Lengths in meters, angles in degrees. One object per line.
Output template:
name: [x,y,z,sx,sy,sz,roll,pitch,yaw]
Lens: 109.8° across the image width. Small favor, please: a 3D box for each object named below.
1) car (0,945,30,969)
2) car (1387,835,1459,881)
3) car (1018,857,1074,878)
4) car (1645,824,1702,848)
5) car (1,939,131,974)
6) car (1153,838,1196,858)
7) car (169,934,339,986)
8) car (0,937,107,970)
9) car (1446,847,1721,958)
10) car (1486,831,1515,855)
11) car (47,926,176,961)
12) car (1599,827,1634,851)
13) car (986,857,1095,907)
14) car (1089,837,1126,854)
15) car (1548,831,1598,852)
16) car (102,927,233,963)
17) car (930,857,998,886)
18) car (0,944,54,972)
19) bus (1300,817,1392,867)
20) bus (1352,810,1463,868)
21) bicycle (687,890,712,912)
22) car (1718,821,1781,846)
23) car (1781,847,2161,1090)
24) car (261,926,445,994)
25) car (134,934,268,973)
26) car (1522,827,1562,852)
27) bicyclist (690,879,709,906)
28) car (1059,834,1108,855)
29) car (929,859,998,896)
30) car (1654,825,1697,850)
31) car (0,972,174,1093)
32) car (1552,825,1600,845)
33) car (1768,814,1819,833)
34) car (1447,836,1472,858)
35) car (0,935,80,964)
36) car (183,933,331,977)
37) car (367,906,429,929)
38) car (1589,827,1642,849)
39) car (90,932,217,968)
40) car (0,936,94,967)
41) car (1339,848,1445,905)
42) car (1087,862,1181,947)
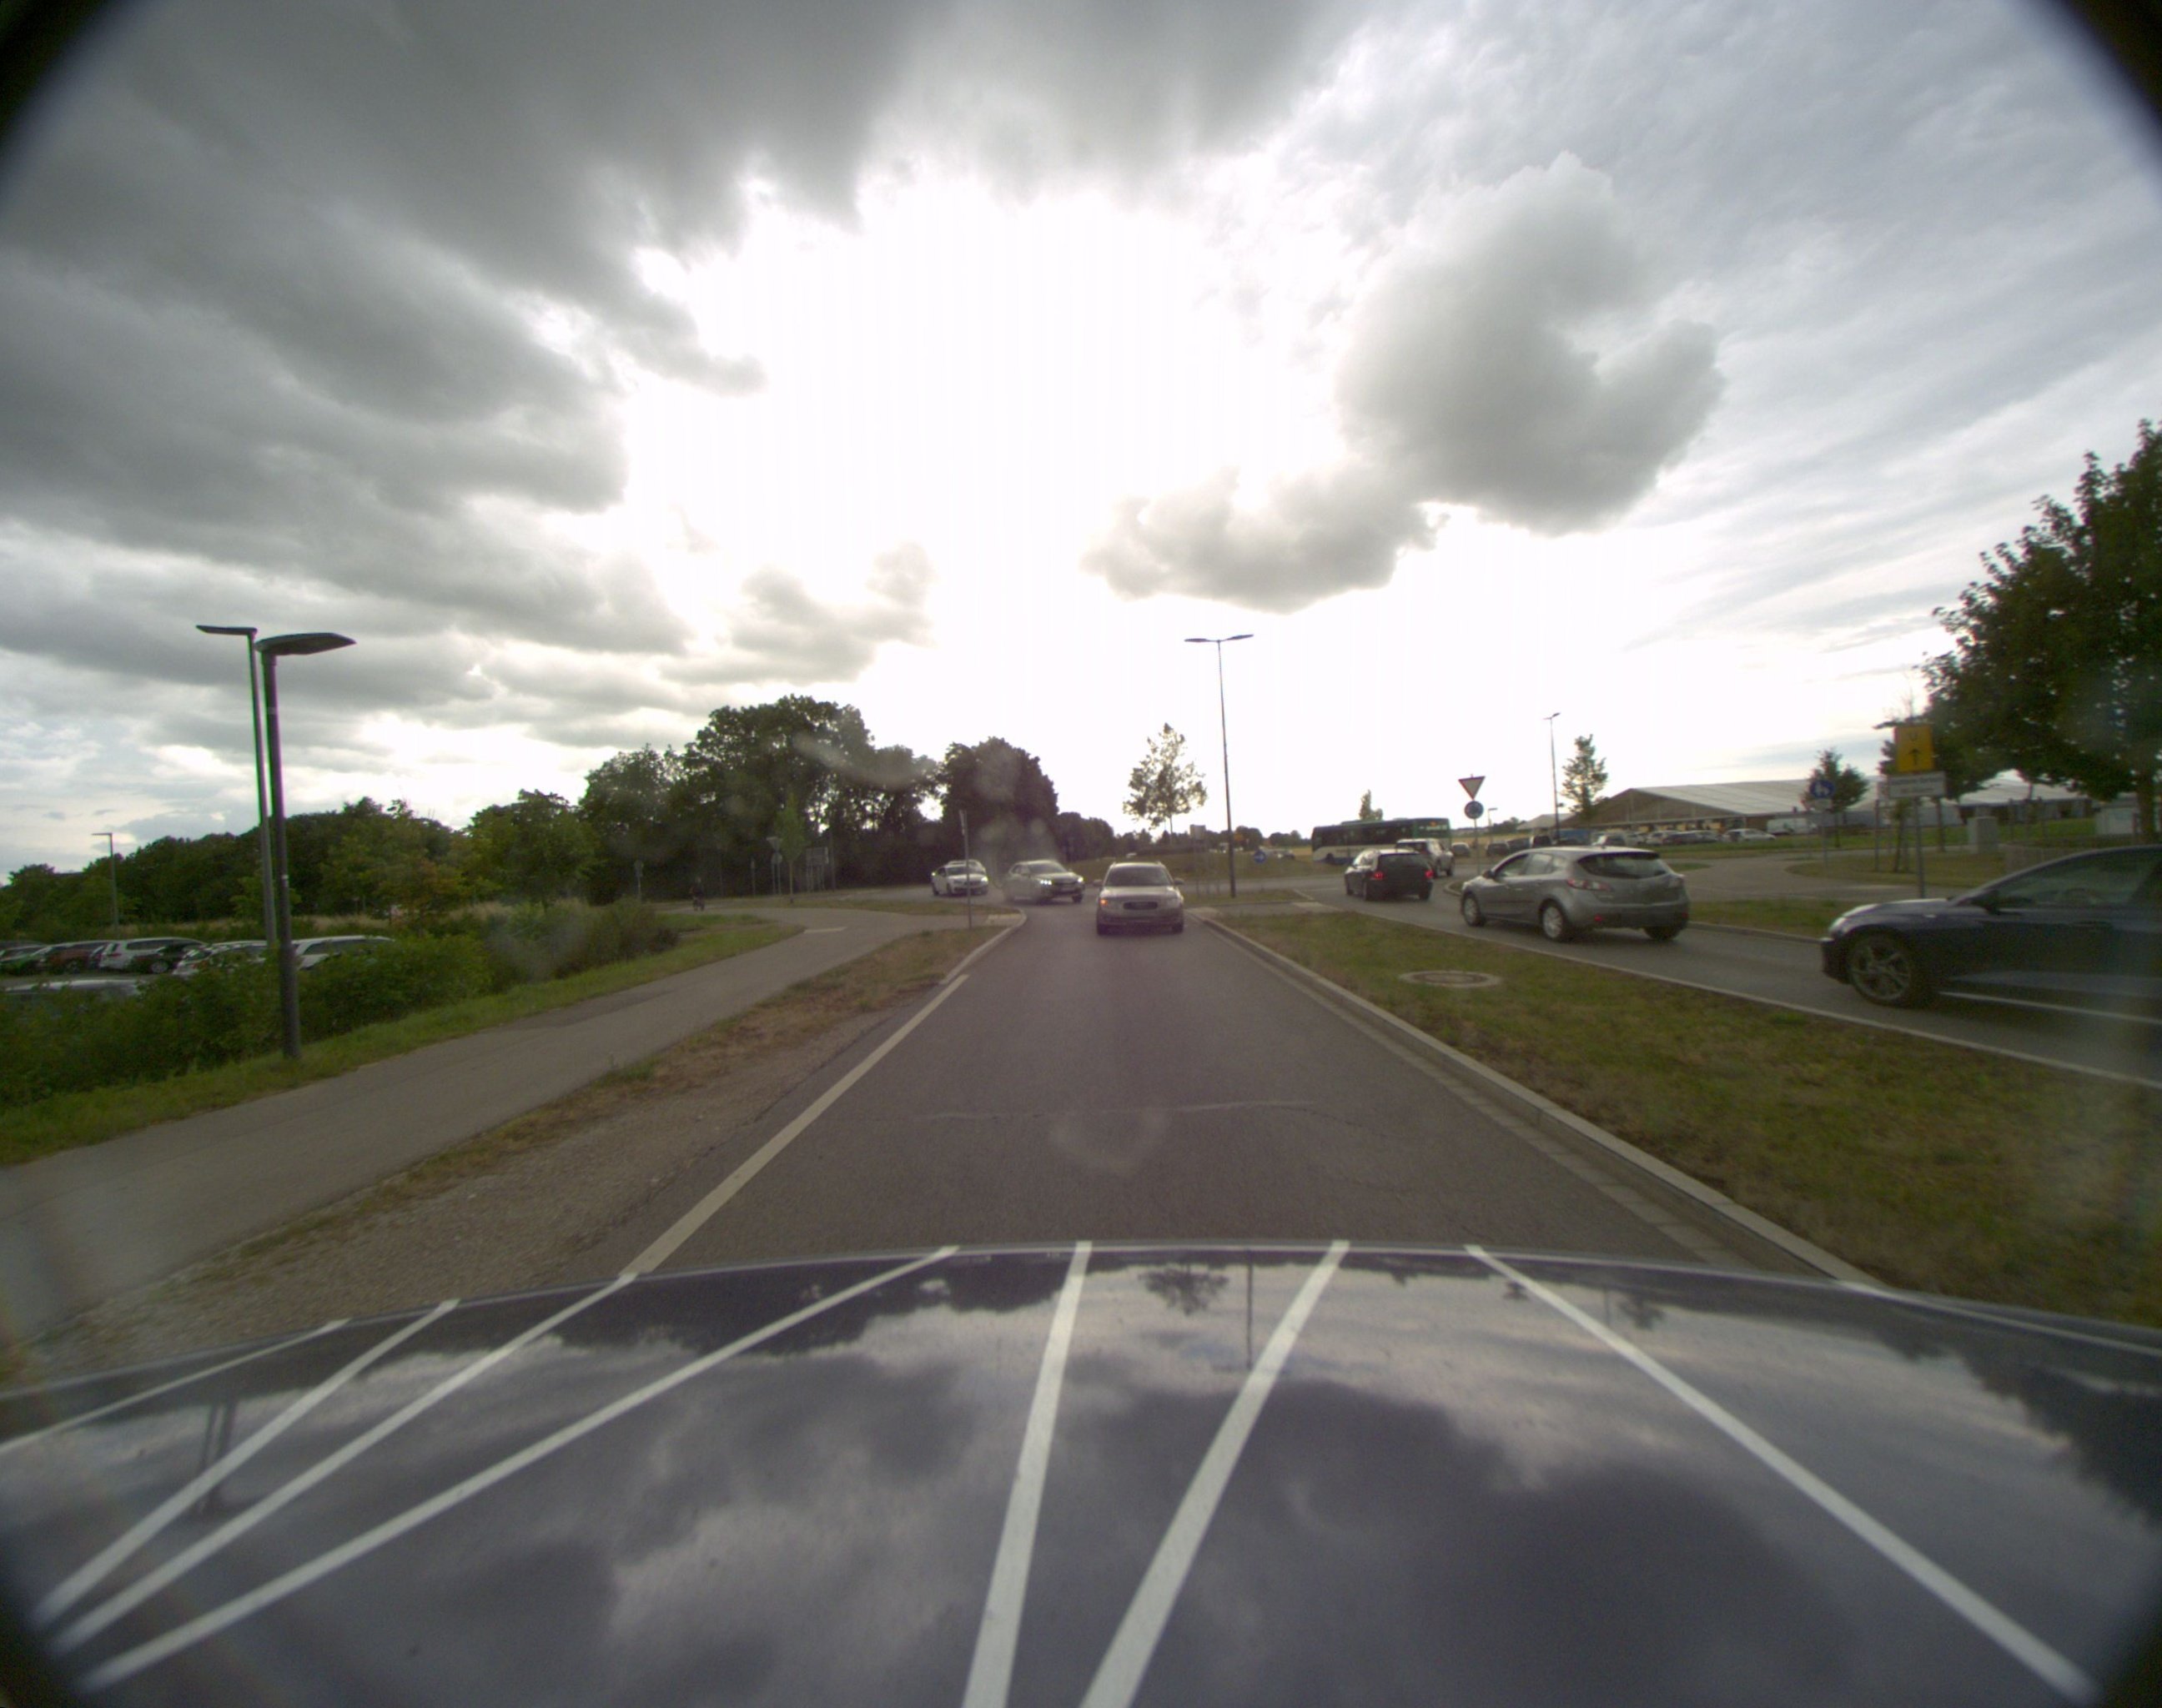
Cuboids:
car: [-68.974,6.570,47.270,1.697,1.352,4.007,-2,0,28]
car: [14.563,0.139,32.239,1.826,1.712,4.407,-1,2,37]
car: [-2.694,1.030,58.497,3.777,1.510,1.995,-2,0,-35]
car: [55.047,-1.663,70.611,4.001,2.002,1.998,-2,0,-11]
car: [-55.326,5.540,41.514,1.697,1.352,4.007,-2,0,28]
car: [8.364,-0.584,67.932,1.994,1.674,4.008,-2,0,38]
car: [-31.240,3.961,28.831,1.840,1.352,4.007,-2,0,28]
car: [-58.581,5.627,43.003,1.697,1.352,4.007,-2,0,28]
car: [7.970,0.676,12.634,1.830,1.480,4.216,-2,0,1]
car: [37.769,-0.965,68.527,1.995,2.002,4.007,-2,0,26]
car: [-52.097,4.773,40.906,1.697,1.352,4.007,-2,0,28]
car: [47.044,-1.290,66.815,1.995,2.002,4.007,-2,0,29]
car: [-1.627,0.996,28.280,1.874,1.578,5.051,-4,1,-30]
car: [2.830,-0.921,79.870,1.995,1.674,4.008,-2,0,33]
car: [50.559,-1.298,78.110,4.001,2.002,1.998,-2,0,-11]
car: [-46.555,4.600,38.827,1.697,1.352,4.007,-2,0,28]
car: [-7.595,1.102,49.311,4.003,1.674,1.997,-2,0,-19]
car: [-65.748,6.416,45.993,1.697,1.352,4.007,-2,0,28]
bus: [18.491,-0.789,53.591,2.994,3.261,6.695,-2,0,-12]
bus: [20.054,-0.846,47.142,2.994,3.261,6.478,-2,0,-12]
bicycle: [-17.976,2.200,35.812,1.297,0.956,0.569,-2,0,41]
car: [56.976,-1.729,64.781,4.001,2.002,1.998,-2,0,-11]
car: [7.699,0.714,5.205,1.830,1.480,4.350,-2,0,1]
car: [-25.189,3.594,26.467,1.697,1.707,4.250,-2,0,28]
car: [-43.313,4.873,37.487,1.697,1.352,4.007,-2,0,28]
car: [40.526,-1.254,66.949,1.996,2.002,4.005,-2,0,16]
bicyclist: [-17.999,1.801,35.831,0.657,1.236,0.556,-1,1,41]
car: [0.277,-0.856,68.352,1.995,1.794,4.781,-2,0,33]
car: [-5.598,1.078,35.848,1.874,1.533,4.190,-4,1,-28]
car: [50.120,-1.388,64.138,2.227,2.002,4.007,-2,0,29]
car: [-18.846,3.098,13.244,3.997,1.696,1.657,-2,0,0]
car: [53.478,-2.006,82.127,4.001,2.002,1.998,-2,0,-11]
car: [82.602,-3.559,88.102,4.568,2.002,1.998,-2,0,-11]
car: [35.041,-0.650,70.390,1.995,2.002,4.007,-2,0,26]
car: [-63.010,5.707,45.168,1.697,1.352,4.007,-2,0,28]
car: [-35.511,4.313,32.882,1.697,1.352,4.007,-2,0,28]
car: [-58.675,5.487,65.312,4.066,1.761,2.002,-2,0,15]
car: [52.553,-1.582,74.735,3.999,2.002,1.999,-2,0,-8]
car: [-49.294,5.080,40.463,1.697,1.352,4.007,-2,0,28]
car: [-60.699,5.634,44.017,1.697,1.352,4.007,-2,0,28]
car: [8.990,0.603,22.370,1.829,1.480,4.339,-2,0,8]
car: [1.137,0.972,16.296,1.700,1.458,4.001,-2,1,4]
